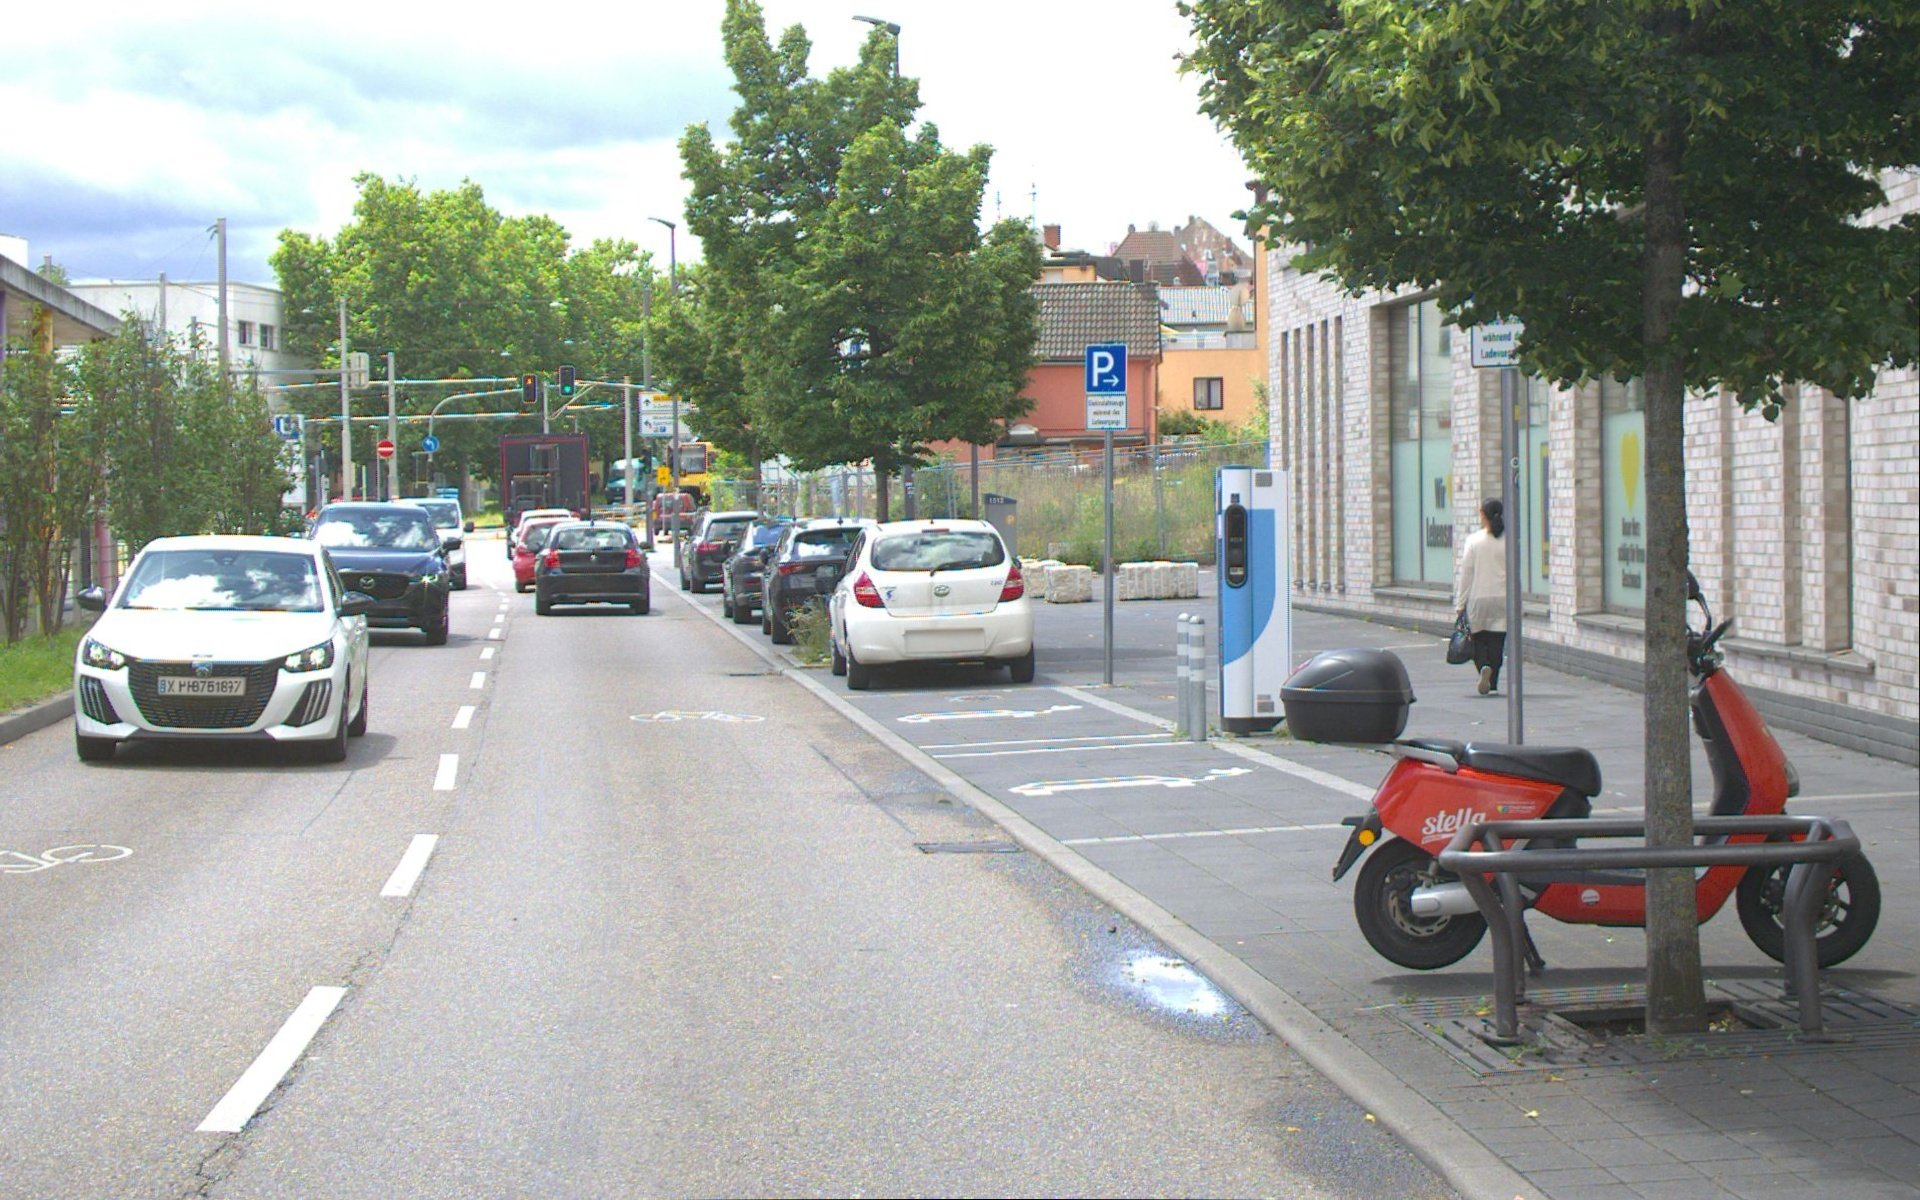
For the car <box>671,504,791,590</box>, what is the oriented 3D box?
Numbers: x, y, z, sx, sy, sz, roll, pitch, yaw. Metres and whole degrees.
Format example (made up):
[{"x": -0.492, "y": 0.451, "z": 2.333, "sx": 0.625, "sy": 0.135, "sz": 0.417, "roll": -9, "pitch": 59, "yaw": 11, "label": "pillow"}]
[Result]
[{"x": -4.204, "y": -0.993, "z": 62.586, "sx": 1.781, "sy": 1.446, "sz": 4.477, "roll": -2, "pitch": 2, "yaw": -8, "label": "car"}]

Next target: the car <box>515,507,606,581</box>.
[{"x": -8.114, "y": -1.157, "z": 69.634, "sx": 1.711, "sy": 1.388, "sz": 3.810, "roll": -2, "pitch": 2, "yaw": -8, "label": "car"}]

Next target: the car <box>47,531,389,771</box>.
[{"x": -4.911, "y": 0.279, "z": 23.214, "sx": 1.811, "sy": 1.464, "sz": 3.908, "roll": 0, "pitch": 1, "yaw": -6, "label": "car"}]

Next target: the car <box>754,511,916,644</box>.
[{"x": -1.563, "y": -0.315, "z": 41.594, "sx": 1.692, "sy": 1.456, "sz": 4.148, "roll": -2, "pitch": 2, "yaw": -5, "label": "car"}]

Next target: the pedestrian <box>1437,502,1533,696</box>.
[{"x": 4.091, "y": -0.017, "z": 26.824, "sx": 0.607, "sy": 1.467, "sz": 0.791, "roll": -2, "pitch": 2, "yaw": 2, "label": "pedestrian"}]

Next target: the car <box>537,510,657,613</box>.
[{"x": -5.627, "y": -0.630, "z": 52.994, "sx": 1.726, "sy": 1.451, "sz": 3.810, "roll": -2, "pitch": 2, "yaw": -7, "label": "car"}]

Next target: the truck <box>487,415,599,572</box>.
[{"x": -12.676, "y": -3.126, "z": 104.591, "sx": 3.202, "sy": 4.520, "sz": 9.030, "roll": 0, "pitch": 0, "yaw": -7, "label": "truck"}]

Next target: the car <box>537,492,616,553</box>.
[{"x": -9.862, "y": -1.973, "z": 88.253, "sx": 1.887, "sy": 1.460, "sz": 4.070, "roll": -2, "pitch": 1, "yaw": -8, "label": "car"}]

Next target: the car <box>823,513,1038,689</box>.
[{"x": -0.336, "y": -0.036, "z": 32.269, "sx": 1.692, "sy": 1.478, "sz": 3.798, "roll": -2, "pitch": 2, "yaw": -5, "label": "car"}]

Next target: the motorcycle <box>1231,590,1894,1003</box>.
[{"x": 1.987, "y": 0.646, "z": 11.397, "sx": 2.051, "sy": 1.261, "sz": 0.672, "roll": -2, "pitch": 0, "yaw": 12, "label": "motorcycle"}]

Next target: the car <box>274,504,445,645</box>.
[{"x": -7.227, "y": -0.343, "z": 41.731, "sx": 1.919, "sy": 1.599, "sz": 4.628, "roll": 0, "pitch": 1, "yaw": -8, "label": "car"}]

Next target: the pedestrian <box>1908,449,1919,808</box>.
[{"x": 5.156, "y": 0.129, "z": 16.662, "sx": 0.732, "sy": 1.760, "sz": 0.758, "roll": -2, "pitch": 0, "yaw": -20, "label": "pedestrian"}]

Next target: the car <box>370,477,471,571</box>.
[{"x": -11.562, "y": -1.623, "z": 73.423, "sx": 2.003, "sy": 1.910, "sz": 5.066, "roll": 0, "pitch": 1, "yaw": -10, "label": "car"}]

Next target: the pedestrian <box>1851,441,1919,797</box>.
[{"x": 5.012, "y": 0.085, "z": 17.386, "sx": 0.735, "sy": 1.760, "sz": 0.624, "roll": -2, "pitch": 0, "yaw": -12, "label": "pedestrian"}]

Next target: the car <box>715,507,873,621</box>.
[{"x": -2.365, "y": -0.536, "z": 48.073, "sx": 1.864, "sy": 1.446, "sz": 4.645, "roll": -2, "pitch": 2, "yaw": -6, "label": "car"}]
